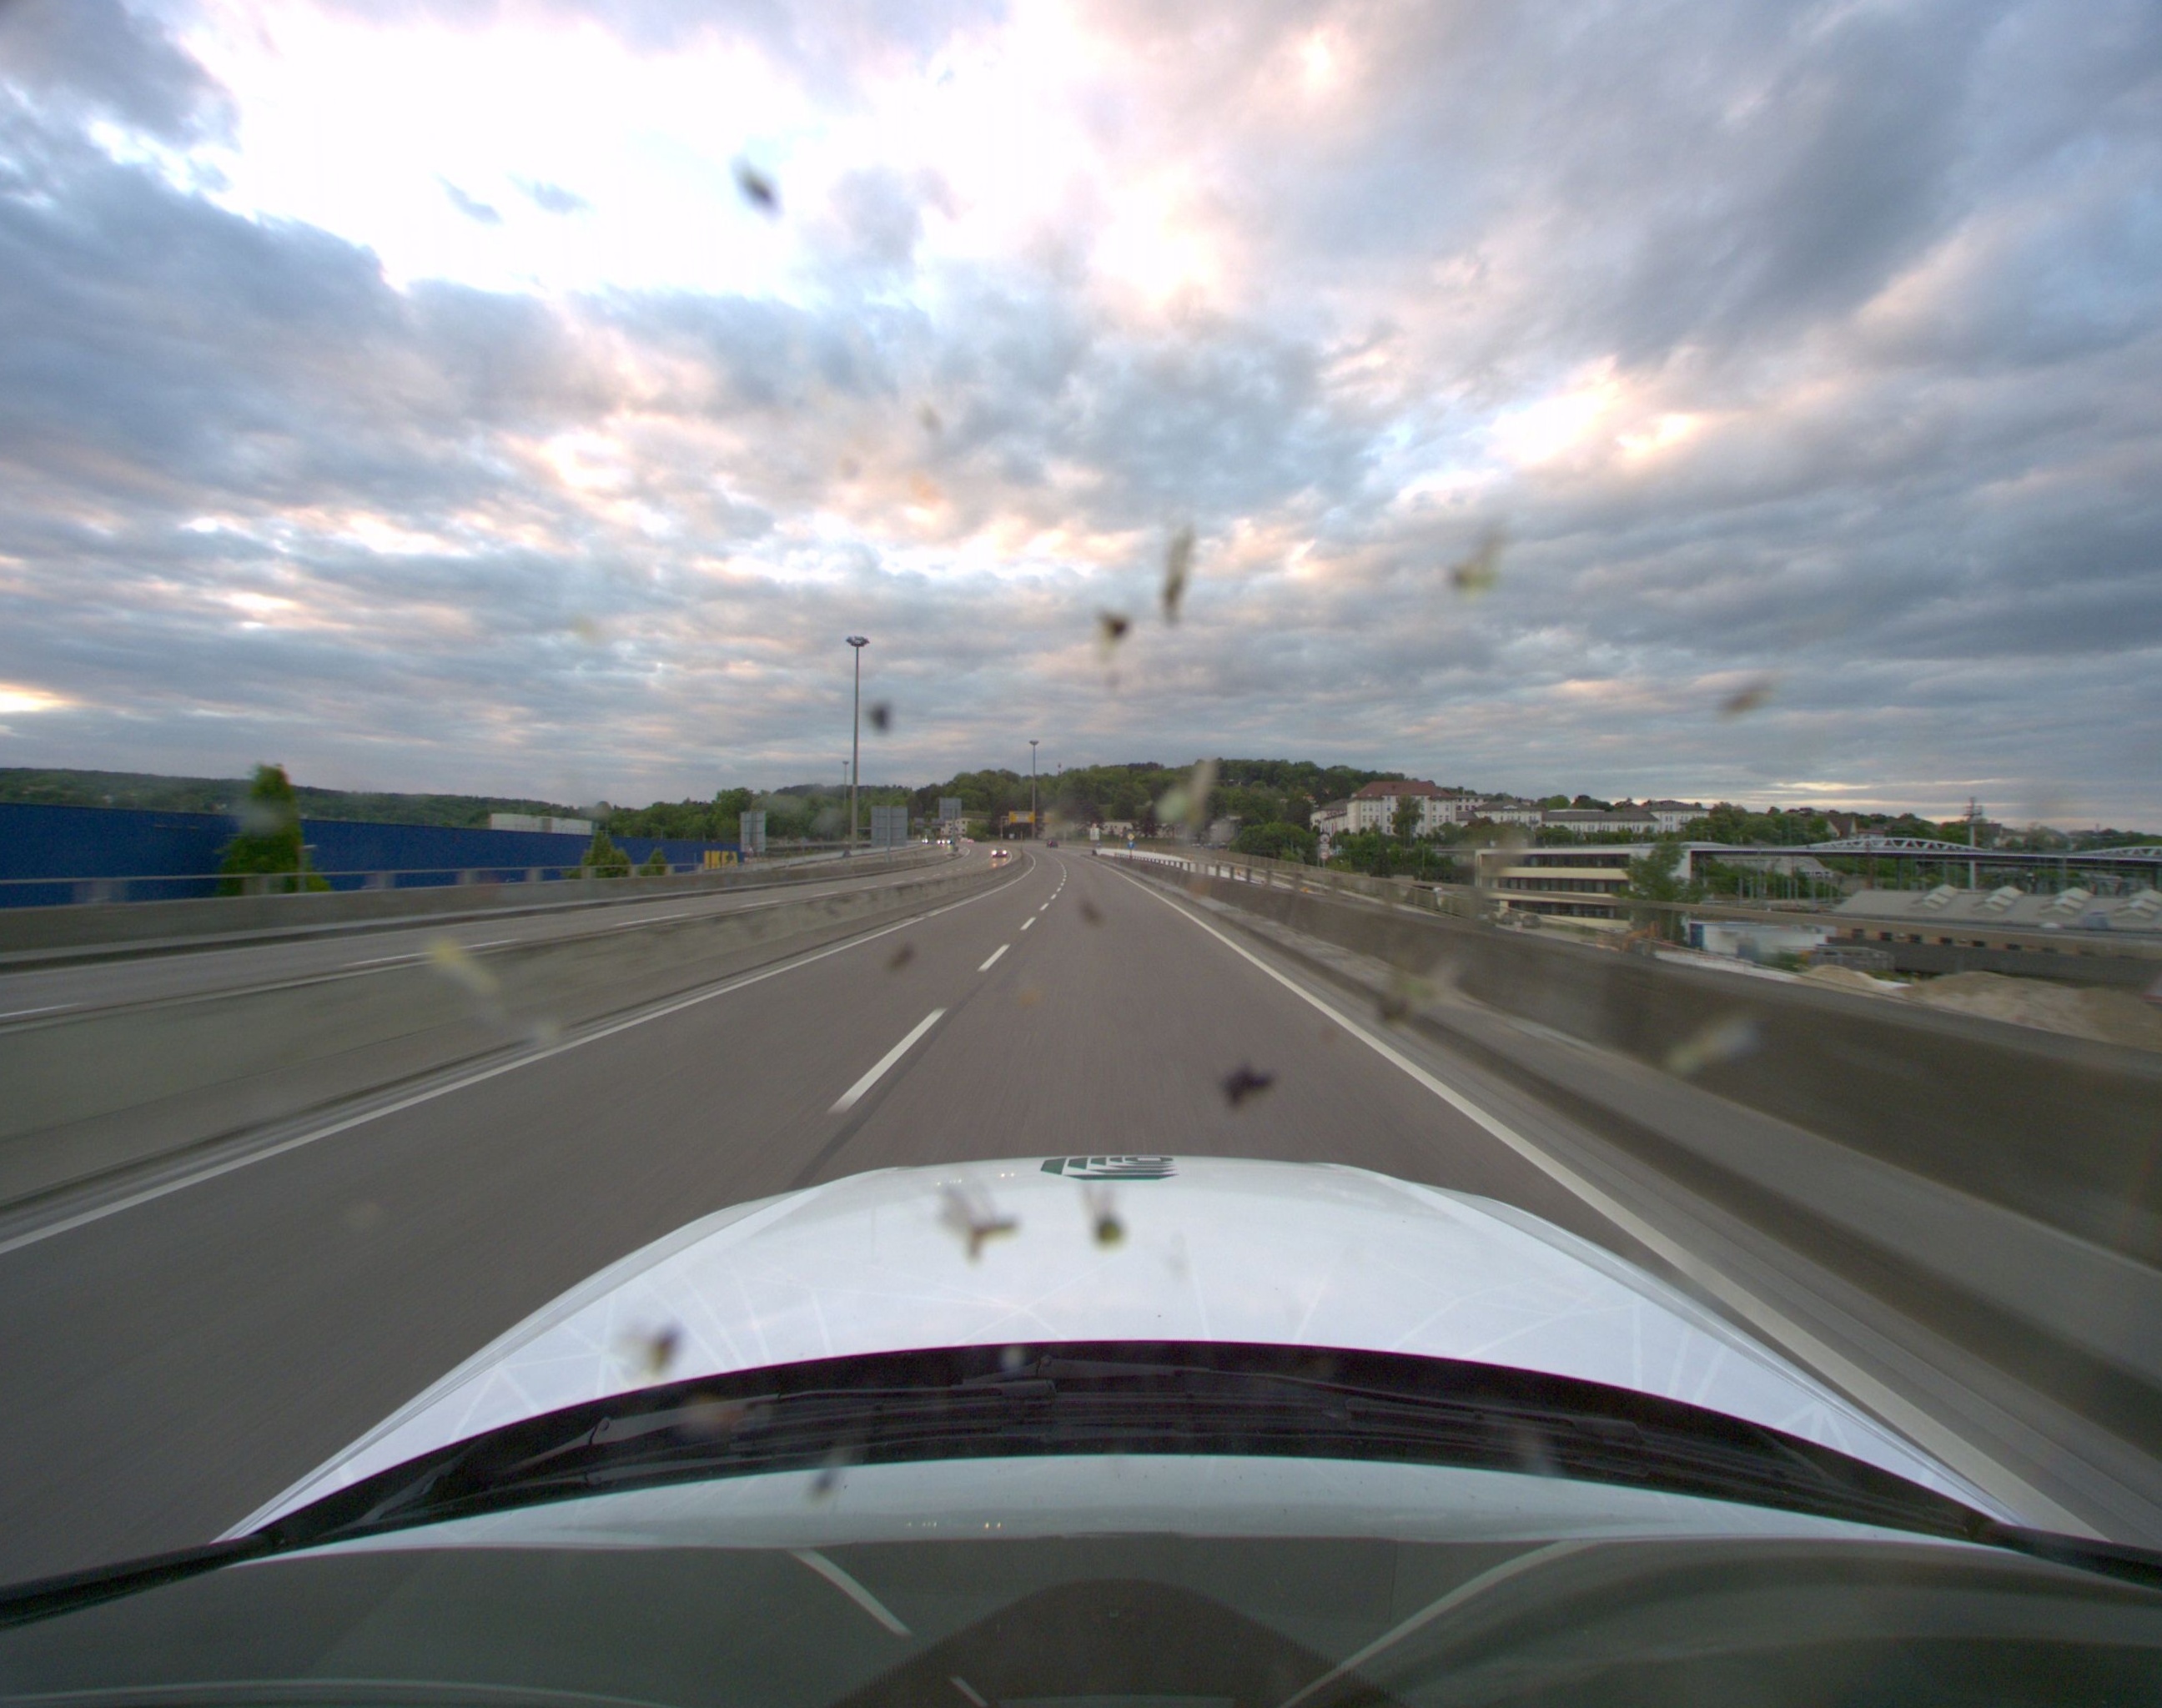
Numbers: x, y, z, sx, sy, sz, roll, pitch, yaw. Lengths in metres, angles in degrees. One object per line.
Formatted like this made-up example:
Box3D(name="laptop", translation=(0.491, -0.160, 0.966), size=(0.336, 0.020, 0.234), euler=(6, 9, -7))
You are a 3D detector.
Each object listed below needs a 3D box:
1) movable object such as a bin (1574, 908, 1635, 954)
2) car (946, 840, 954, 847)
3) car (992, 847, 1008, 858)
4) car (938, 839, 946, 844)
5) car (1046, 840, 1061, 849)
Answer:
Box3D(name="movable object such as a bin", translation=(57.993, 8.440, 90.362), size=(2.776, 4.309, 4.939), euler=(6, 0, -11))
Box3D(name="car", translation=(-35.530, -2.937, 221.295), size=(1.640, 1.717, 3.979), euler=(-5, 1, -16))
Box3D(name="car", translation=(-10.779, -0.210, 108.721), size=(1.825, 1.480, 4.282), euler=(-1, 0, -3))
Box3D(name="car", translation=(-40.976, -3.680, 239.677), size=(1.801, 1.486, 3.817), euler=(-1, 0, -19))
Box3D(name="car", translation=(-5.949, -2.053, 174.090), size=(2.309, 1.763, 4.240), euler=(1, 1, -16))
